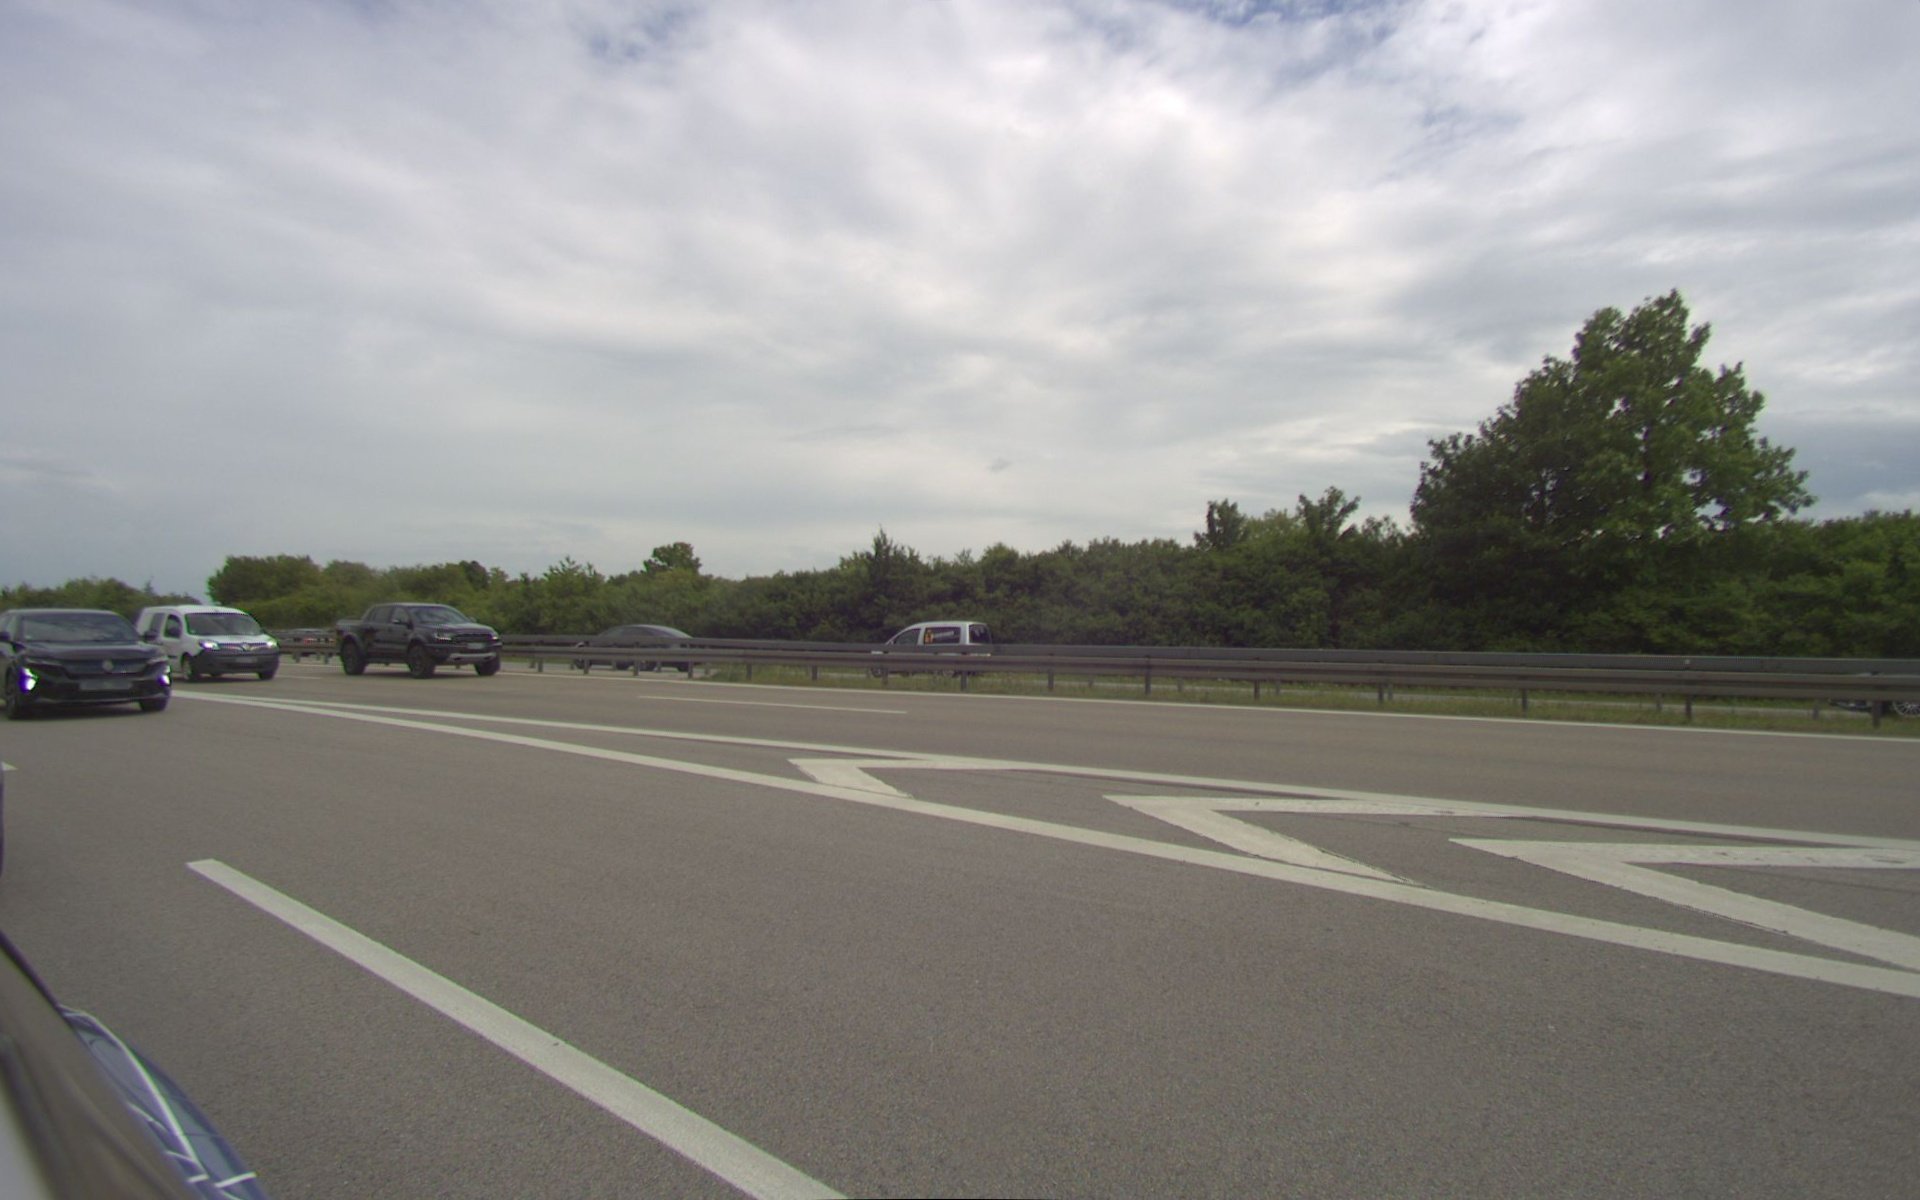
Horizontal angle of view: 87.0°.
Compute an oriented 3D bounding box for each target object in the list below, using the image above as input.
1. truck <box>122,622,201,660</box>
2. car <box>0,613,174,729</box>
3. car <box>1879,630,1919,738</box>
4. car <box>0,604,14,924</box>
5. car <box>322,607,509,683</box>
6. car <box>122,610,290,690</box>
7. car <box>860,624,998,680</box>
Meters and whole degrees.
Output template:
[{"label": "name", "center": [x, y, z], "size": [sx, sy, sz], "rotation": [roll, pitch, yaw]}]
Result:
[{"label": "truck", "center": [-43.794, 2.212, 55.487], "size": [4.705, 2.029, 1.978], "rotation": [-1, -2, 33]}, {"label": "car", "center": [-14.043, 1.015, 15.913], "size": [4.495, 1.578, 1.814], "rotation": [-1, -2, 41]}, {"label": "car", "center": [17.316, 1.323, 15.824], "size": [3.985, 1.697, 1.979], "rotation": [-1, -2, 31]}, {"label": "car", "center": [-6.633, 0.798, 5.370], "size": [4.024, 1.509, 1.826], "rotation": [-1, -1, 39]}, {"label": "car", "center": [-14.079, 1.120, 26.053], "size": [5.397, 1.799, 1.977], "rotation": [-1, -2, 34]}, {"label": "car", "center": [-18.258, 1.159, 24.452], "size": [4.475, 1.765, 1.861], "rotation": [-1, -2, 34]}, {"label": "car", "center": [-1.014, 1.603, 32.121], "size": [3.988, 1.663, 1.978], "rotation": [-1, -2, 33]}]
